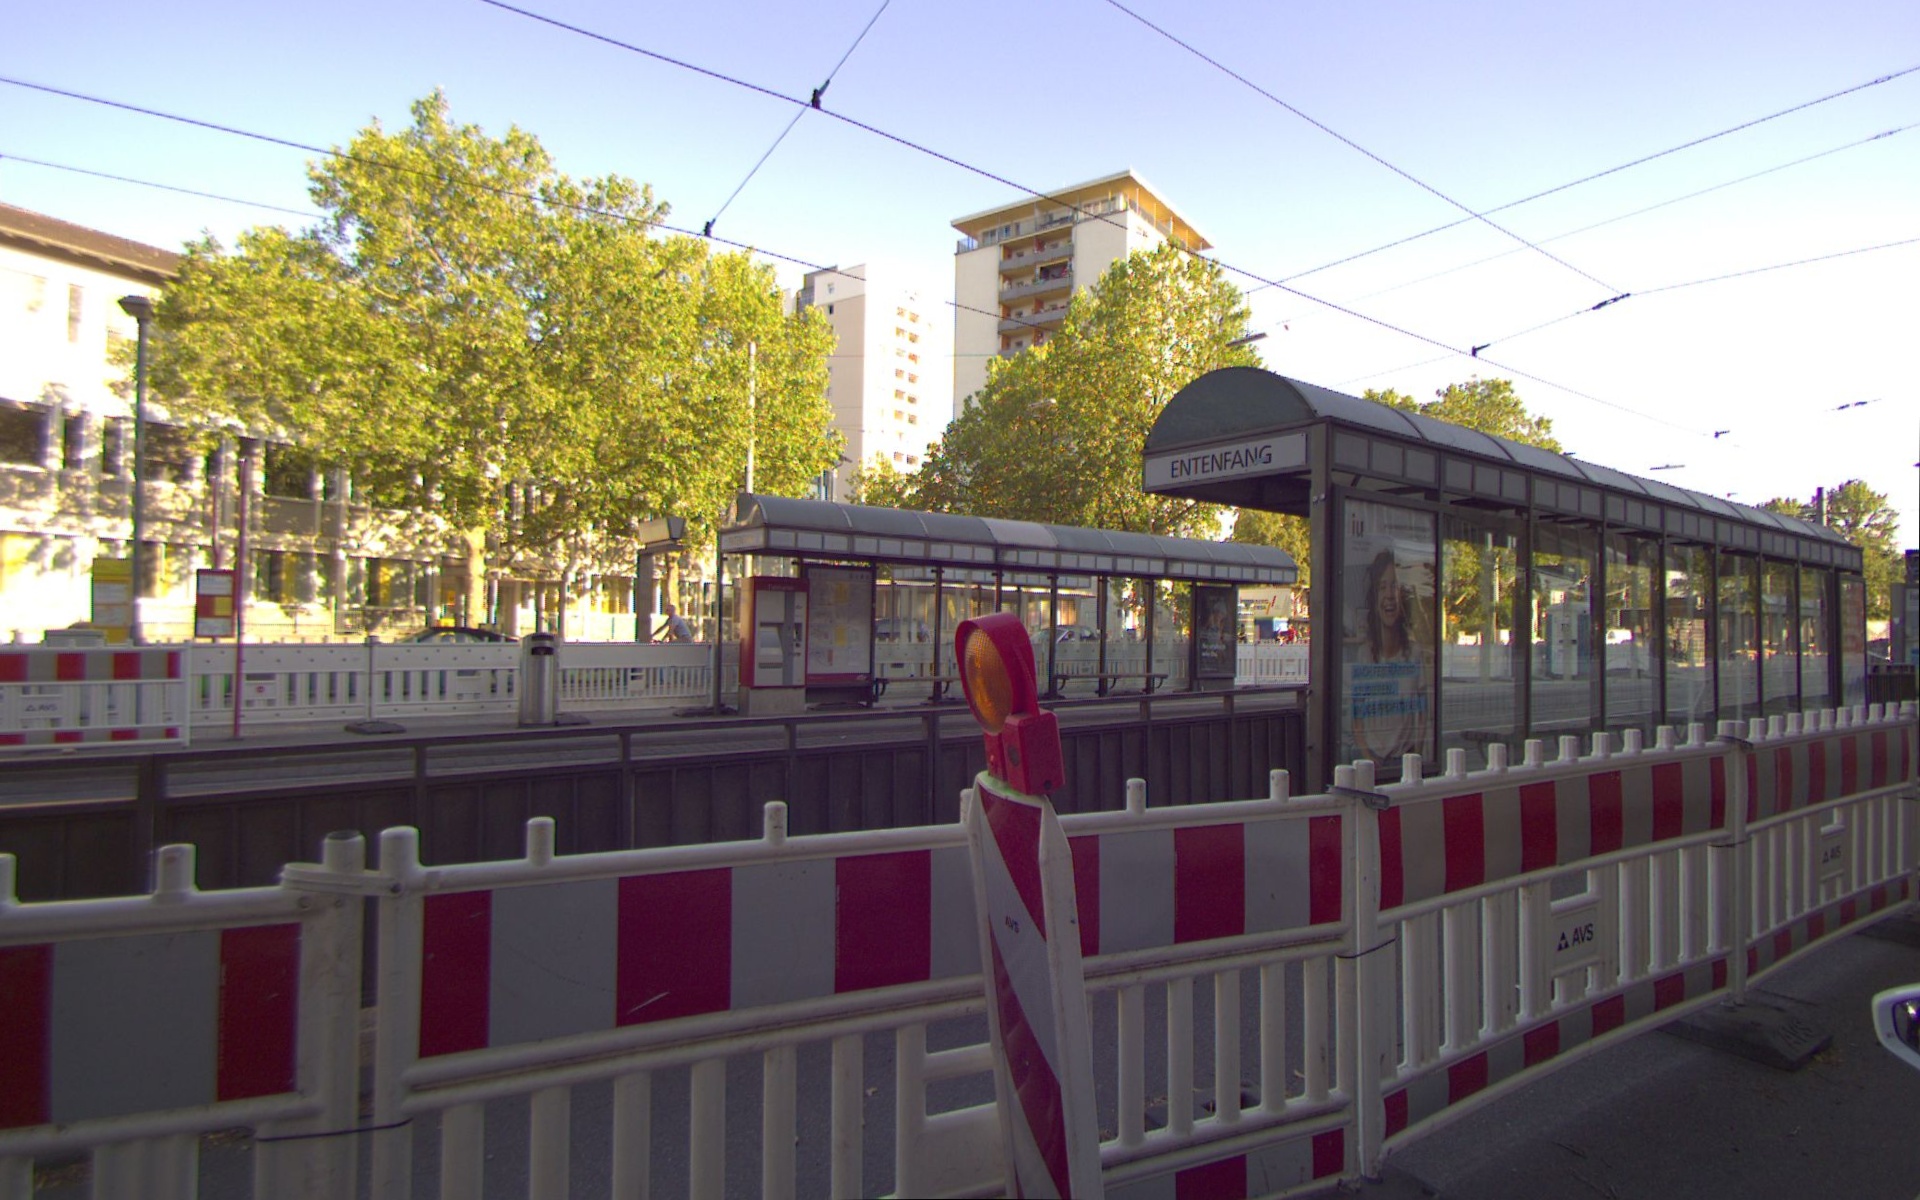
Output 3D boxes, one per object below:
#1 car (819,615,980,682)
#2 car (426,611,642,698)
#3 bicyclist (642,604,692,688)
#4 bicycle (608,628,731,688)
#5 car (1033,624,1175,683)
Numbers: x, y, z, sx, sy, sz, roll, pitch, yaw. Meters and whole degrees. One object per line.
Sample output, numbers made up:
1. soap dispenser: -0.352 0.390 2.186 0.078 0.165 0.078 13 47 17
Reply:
1. car: -1.603 1.299 27.122 3.959 1.683 1.901 2 -2 -34
2. car: -9.058 1.123 21.429 3.958 1.683 1.982 2 -2 -33
3. bicyclist: -6.297 0.980 21.587 0.826 1.751 0.728 2 -2 -35
4. bicycle: -6.233 1.235 21.623 2.456 1.223 0.685 2 -2 -36
5. car: 4.396 1.590 30.558 3.958 1.683 1.982 2 -2 -33
